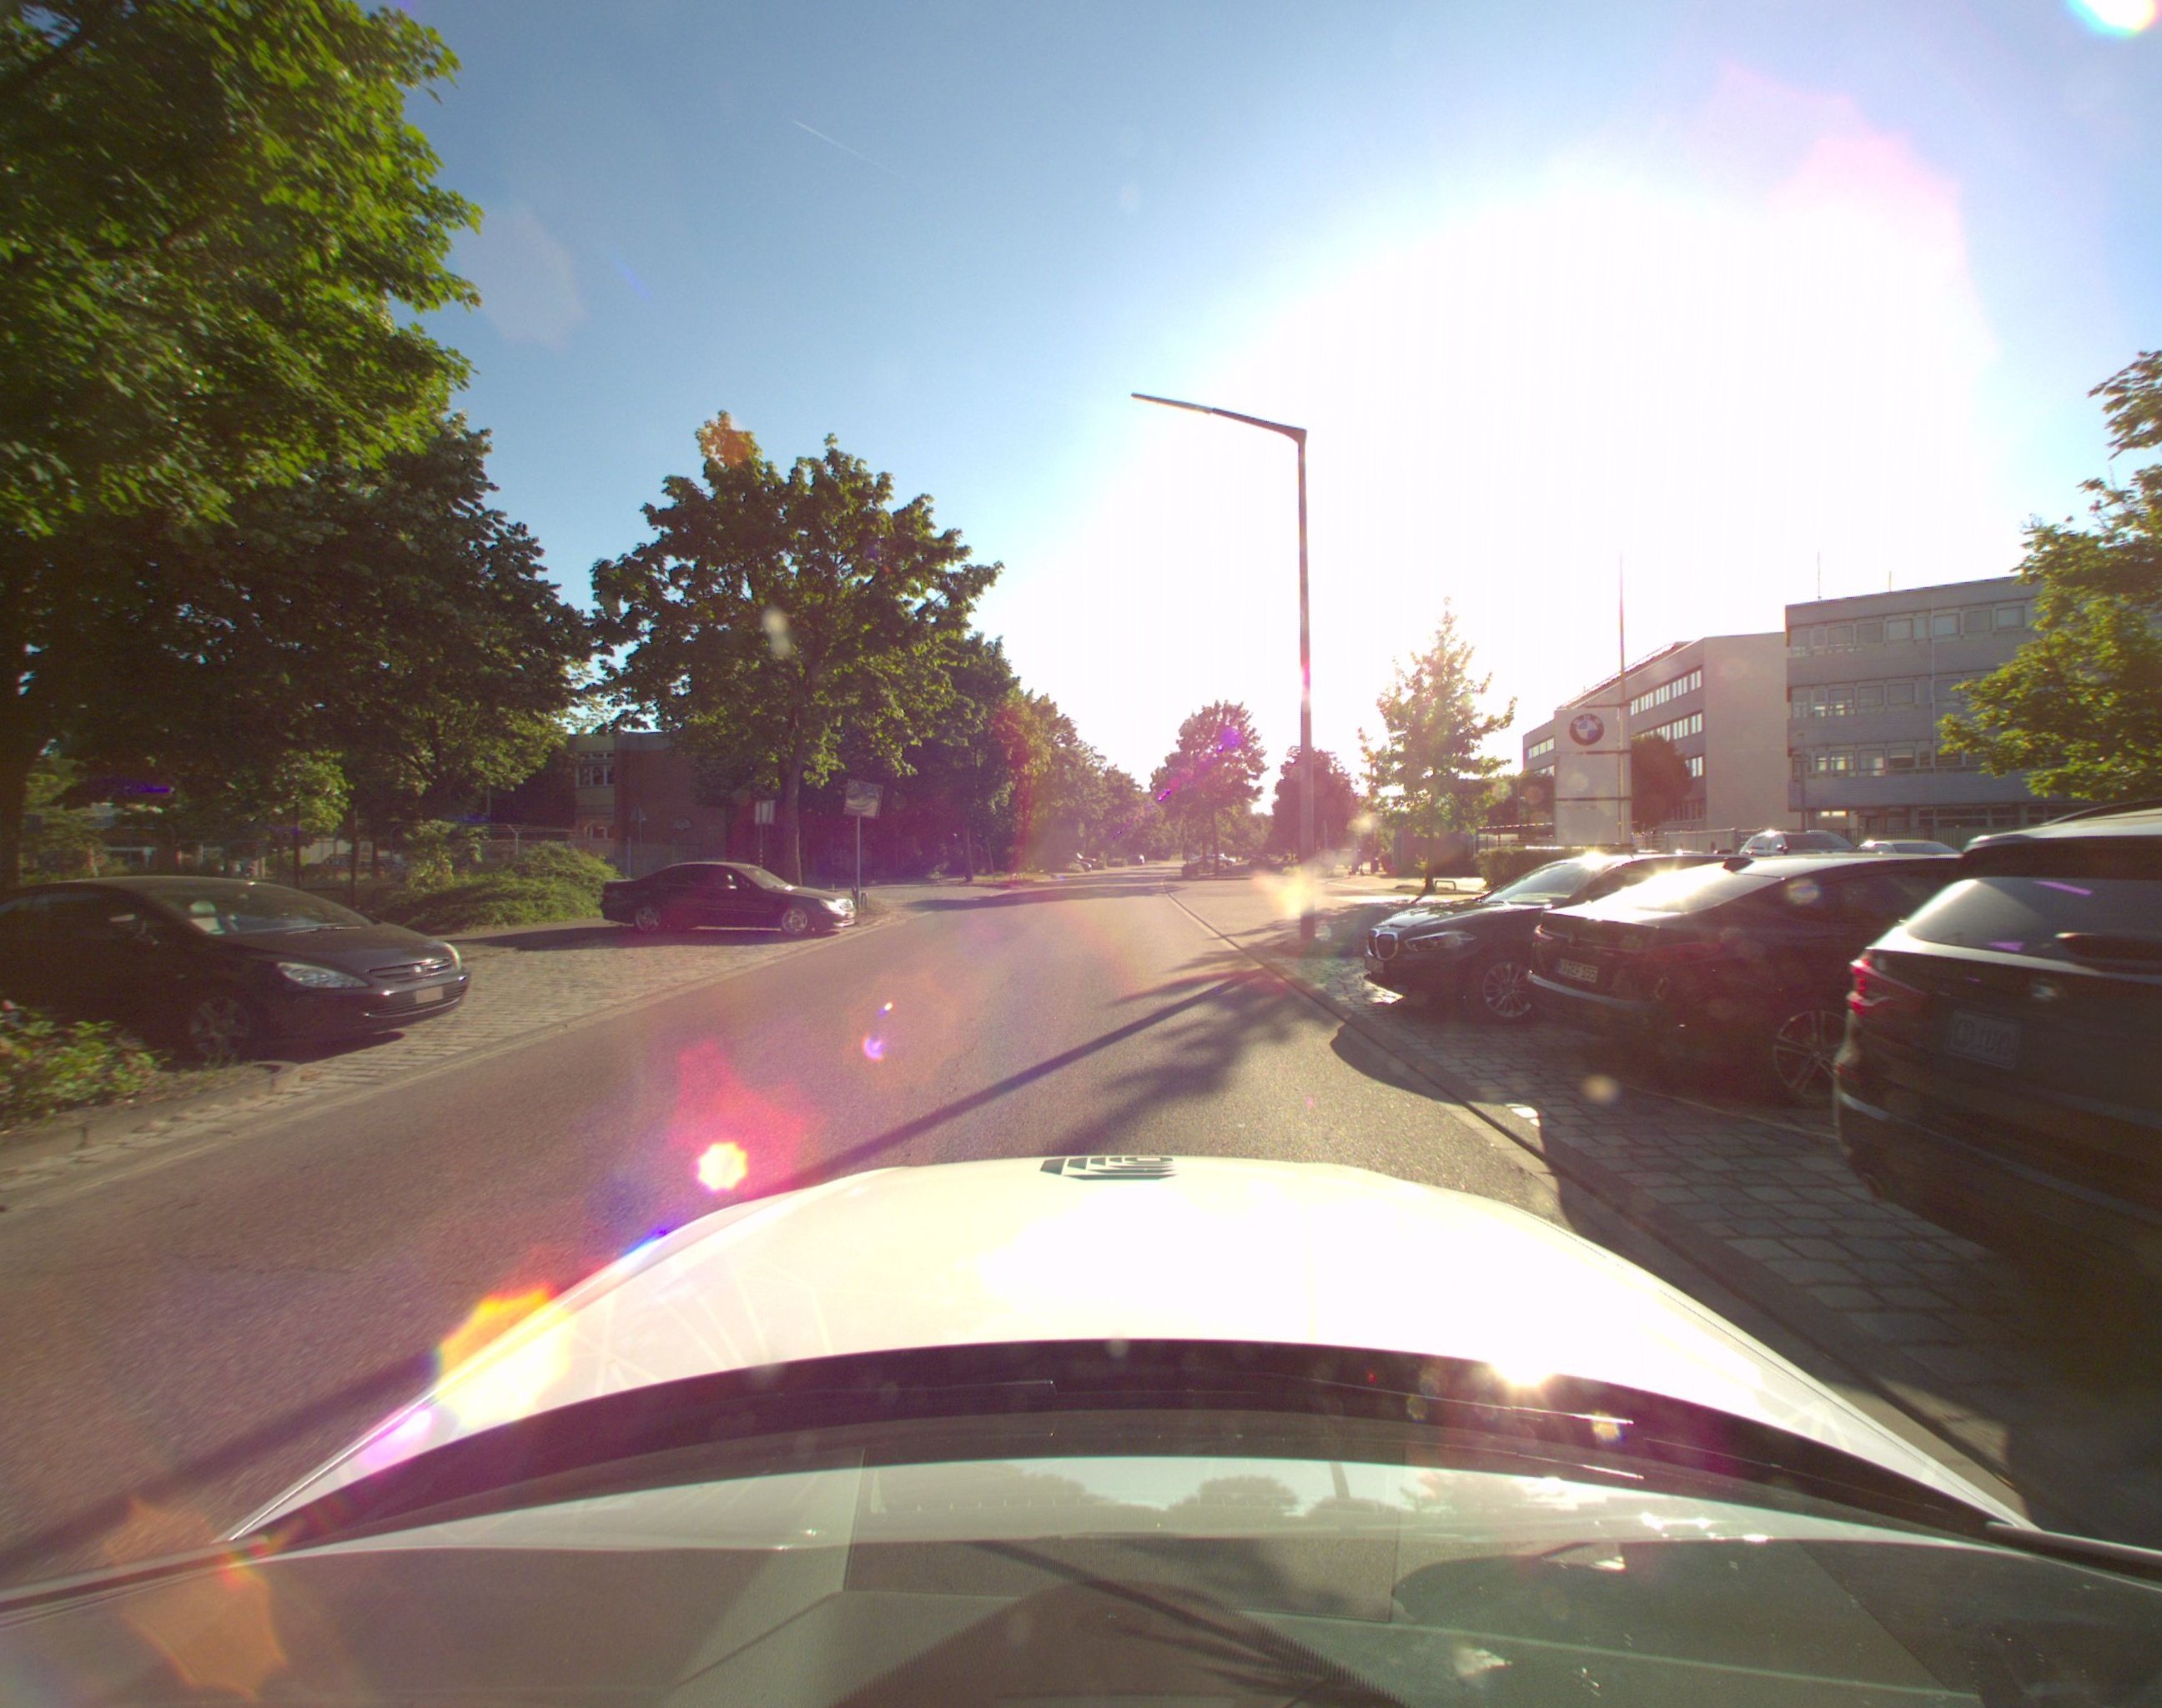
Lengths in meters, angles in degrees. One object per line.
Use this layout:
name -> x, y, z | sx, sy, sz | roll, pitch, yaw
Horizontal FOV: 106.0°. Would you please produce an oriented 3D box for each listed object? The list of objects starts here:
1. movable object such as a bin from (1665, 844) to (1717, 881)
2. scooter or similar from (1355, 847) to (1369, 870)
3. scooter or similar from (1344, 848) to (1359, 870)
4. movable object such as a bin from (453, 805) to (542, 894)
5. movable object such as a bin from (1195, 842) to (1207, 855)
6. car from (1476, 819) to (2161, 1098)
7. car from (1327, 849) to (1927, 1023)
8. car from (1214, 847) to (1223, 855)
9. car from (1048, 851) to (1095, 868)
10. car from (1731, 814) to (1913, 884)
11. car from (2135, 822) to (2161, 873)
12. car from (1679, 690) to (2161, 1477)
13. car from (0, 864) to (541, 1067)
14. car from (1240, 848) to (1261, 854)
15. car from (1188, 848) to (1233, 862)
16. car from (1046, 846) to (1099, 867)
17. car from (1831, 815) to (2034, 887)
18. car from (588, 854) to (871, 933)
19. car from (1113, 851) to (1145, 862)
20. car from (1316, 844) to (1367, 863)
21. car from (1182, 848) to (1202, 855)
movable object such as a bin -> 21.307, 0.282, 28.468 | 1.111, 1.268, 1.040 | -1, 0, 8
scooter or similar -> 15.862, 0.258, 45.988 | 0.517, 1.272, 1.202 | -1, 0, 6
scooter or similar -> 15.784, 0.278, 47.551 | 0.517, 1.272, 1.390 | -1, 0, 6
movable object such as a bin -> -19.234, -0.150, 26.979 | 2.174, 2.664, 4.753 | -1, 0, -35
movable object such as a bin -> 29.786, -1.282, 201.931 | 2.820, 3.068, 4.942 | 1, 1, 11
car -> 5.431, 0.580, 5.594 | 4.464, 1.550, 2.035 | -1, 0, 2
car -> 4.908, 0.687, 7.884 | 4.466, 1.404, 2.034 | -1, 0, 0
car -> 42.285, -0.805, 250.102 | 2.502, 2.386, 4.383 | -1, 0, 8
car -> -0.881, 0.495, 77.708 | 4.188, 1.530, 1.709 | -1, 0, 7
car -> 21.544, -0.143, 23.998 | 2.016, 1.828, 4.998 | -1, 0, 17
car -> 31.236, -0.180, 21.409 | 2.016, 1.432, 4.581 | -1, 0, 17
car -> 4.783, 0.480, 2.194 | 4.672, 1.751, 2.195 | -1, 0, 5
car -> -7.794, 0.879, 7.338 | 4.464, 1.462, 2.000 | 1, 0, 0
car -> 40.814, -0.709, 195.837 | 4.805, 1.479, 2.008 | 2, 1, 15
car -> 15.228, 0.160, 95.779 | 5.144, 1.574, 2.163 | -1, 0, 9
car -> -0.801, 0.235, 81.773 | 4.977, 2.020, 2.179 | -1, 0, 7
car -> 24.053, -0.095, 23.290 | 2.016, 1.828, 4.581 | -1, 0, 17
car -> -7.191, 0.782, 17.076 | 5.017, 1.462, 2.000 | 1, 0, 0
car -> 7.019, 0.352, 118.375 | 4.330, 1.479, 2.007 | 2, 1, 12
car -> 26.720, -0.077, 83.677 | 2.007, 1.933, 4.905 | -1, 1, -31
car -> 25.767, -0.604, 189.806 | 4.326, 1.547, 2.008 | 2, 1, 15
